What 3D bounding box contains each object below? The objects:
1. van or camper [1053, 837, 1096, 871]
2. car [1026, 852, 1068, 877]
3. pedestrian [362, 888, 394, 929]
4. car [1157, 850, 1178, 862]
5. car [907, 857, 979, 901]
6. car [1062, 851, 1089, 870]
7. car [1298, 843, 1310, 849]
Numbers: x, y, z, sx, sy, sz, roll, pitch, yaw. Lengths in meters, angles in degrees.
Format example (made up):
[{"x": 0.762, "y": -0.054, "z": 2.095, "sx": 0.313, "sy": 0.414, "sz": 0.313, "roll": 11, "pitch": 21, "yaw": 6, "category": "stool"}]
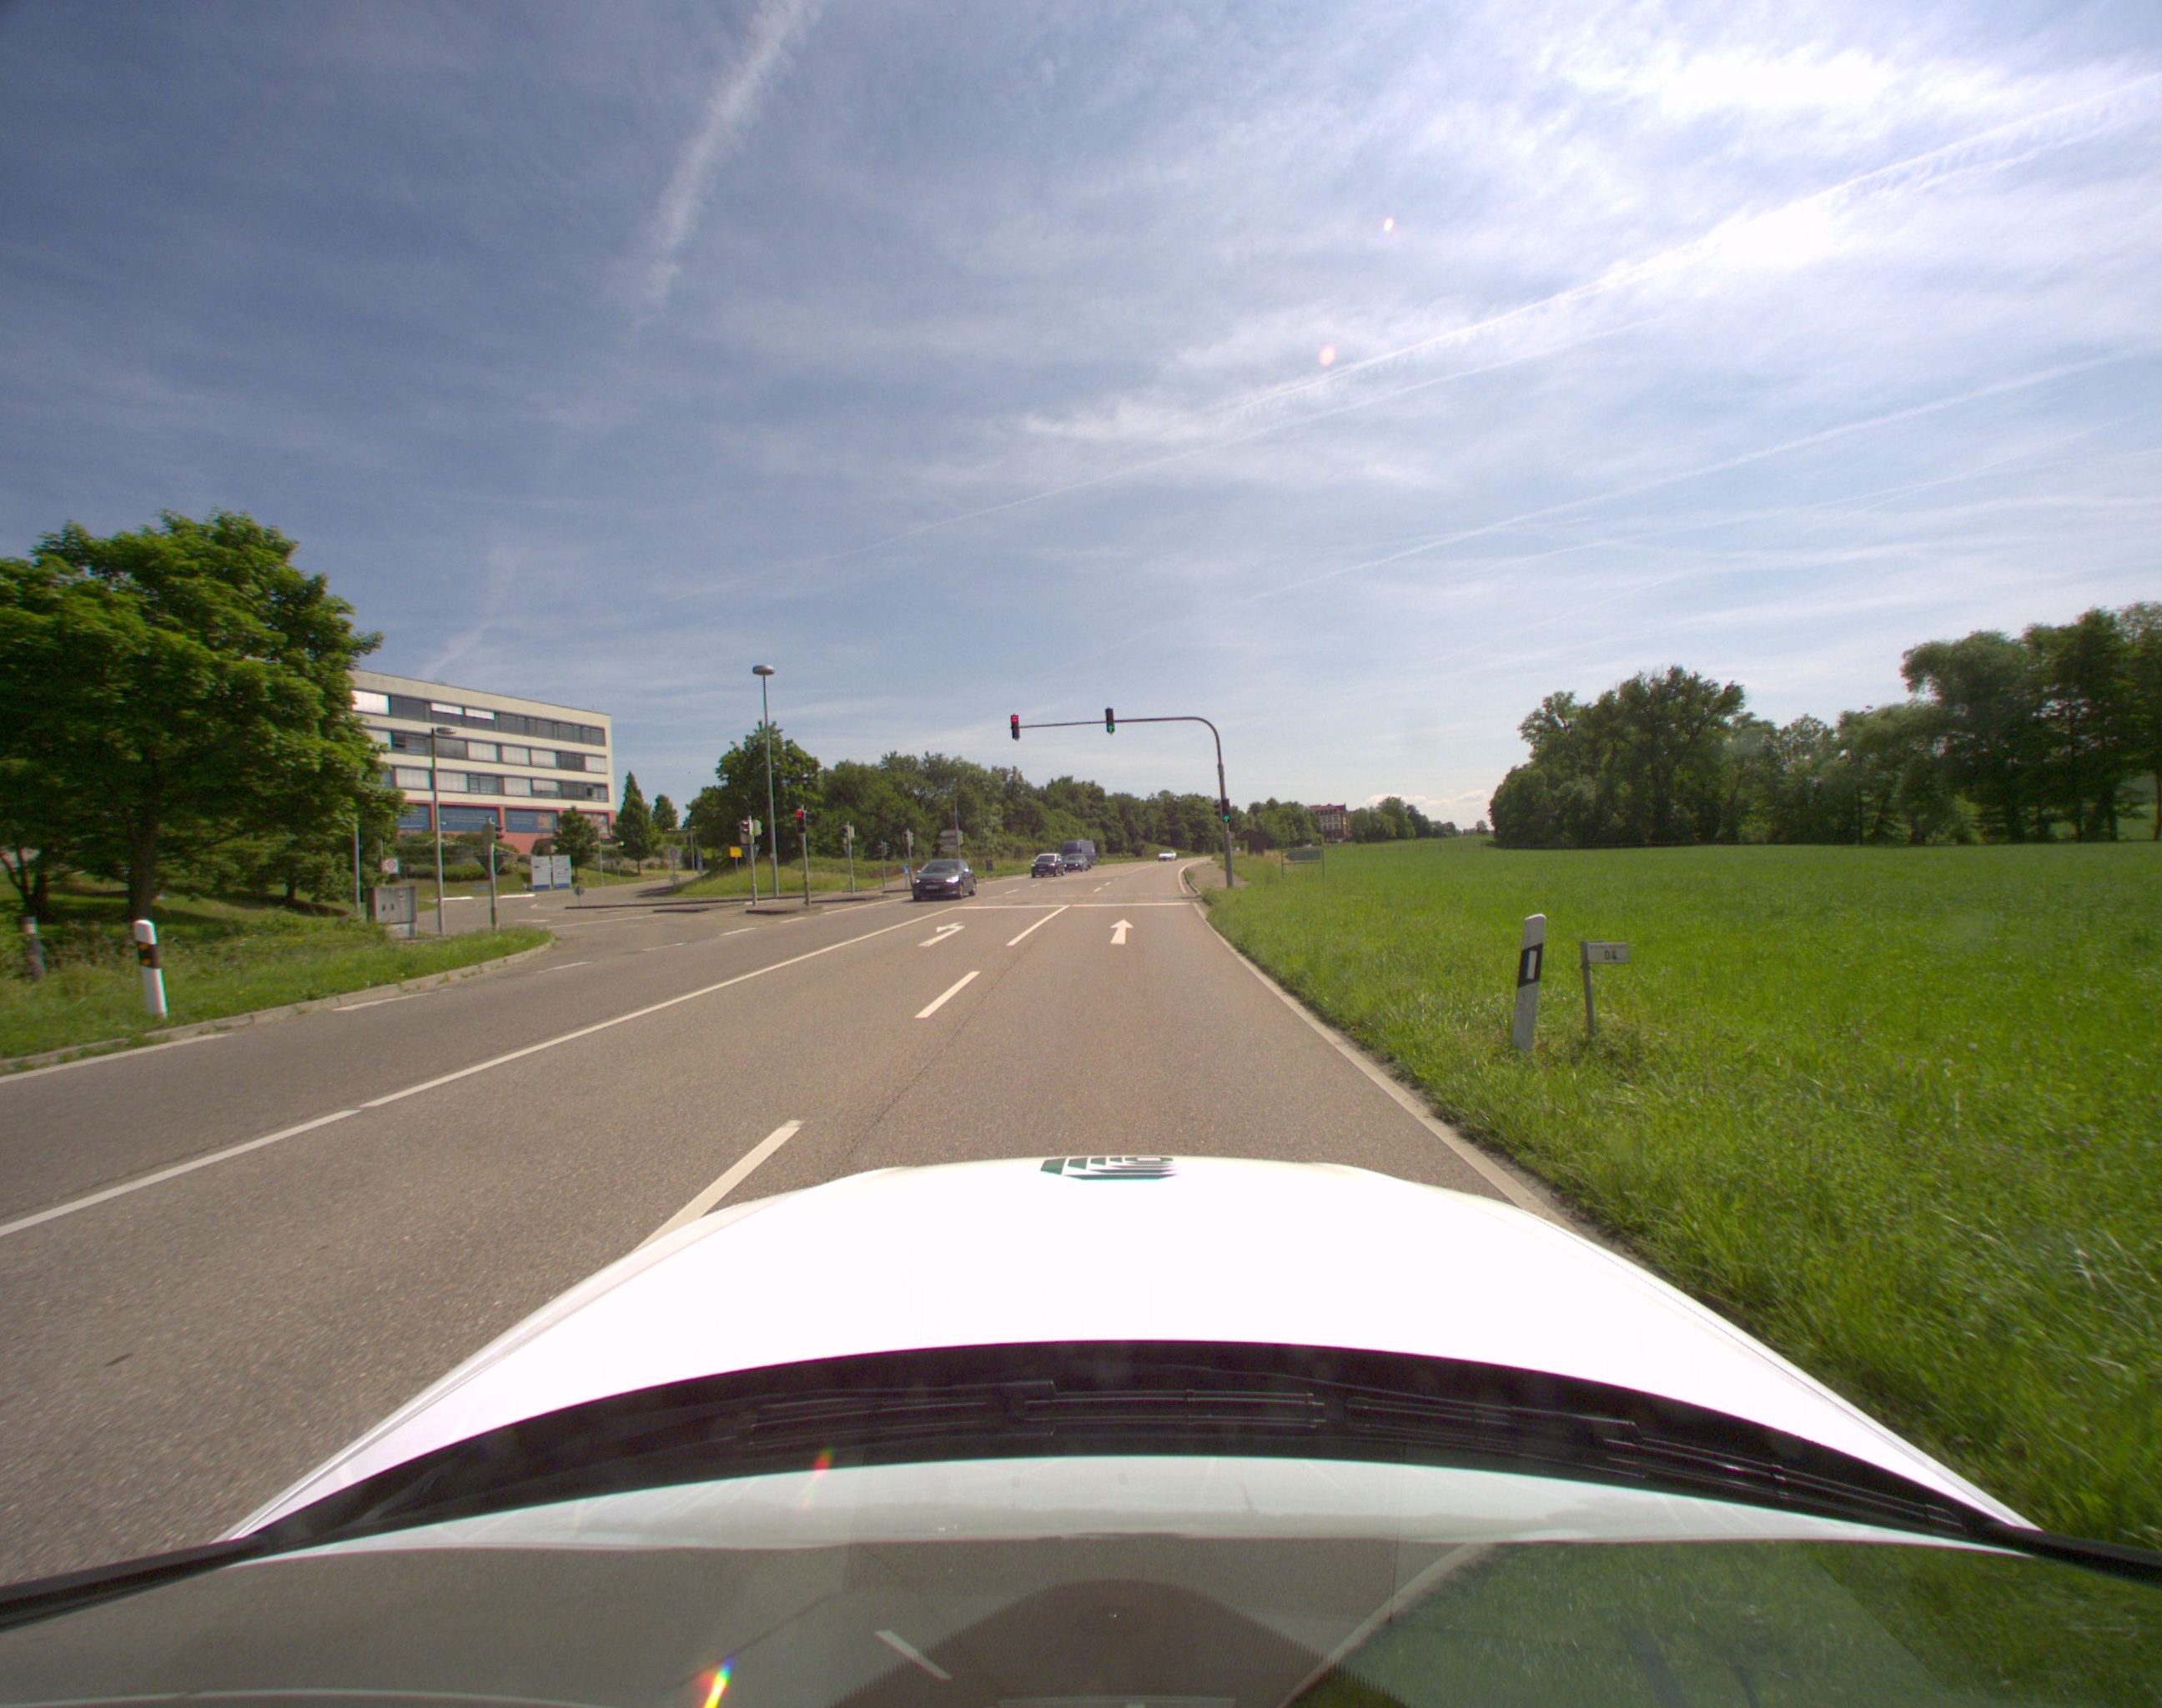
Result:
[{"x": -0.517, "y": -0.079, "z": 77.436, "sx": 2.223, "sy": 2.913, "sz": 7.276, "roll": -3, "pitch": 1, "yaw": 14, "category": "van or camper"}, {"x": -2.284, "y": 0.709, "z": 55.804, "sx": 1.962, "sy": 1.562, "sz": 4.201, "roll": -2, "pitch": 0, "yaw": 10, "category": "car"}, {"x": -31.078, "y": 2.399, "z": 36.005, "sx": 0.910, "sy": 1.736, "sz": 0.905, "roll": -3, "pitch": -1, "yaw": 41, "category": "pedestrian"}, {"x": 12.269, "y": 0.229, "z": 115.187, "sx": 1.921, "sy": 1.548, "sz": 4.649, "roll": -2, "pitch": 0, "yaw": 18, "category": "car"}, {"x": -5.139, "y": 0.900, "z": 30.836, "sx": 1.784, "sy": 1.474, "sz": 4.313, "roll": -2, "pitch": 0, "yaw": 2, "category": "car"}, {"x": -0.426, "y": 0.556, "z": 69.178, "sx": 1.697, "sy": 1.483, "sz": 3.840, "roll": -2, "pitch": 0, "yaw": 7, "category": "car"}, {"x": 60.363, "y": -2.056, "z": 220.415, "sx": 1.737, "sy": 1.534, "sz": 4.255, "roll": -2, "pitch": 0, "yaw": 31, "category": "car"}]
